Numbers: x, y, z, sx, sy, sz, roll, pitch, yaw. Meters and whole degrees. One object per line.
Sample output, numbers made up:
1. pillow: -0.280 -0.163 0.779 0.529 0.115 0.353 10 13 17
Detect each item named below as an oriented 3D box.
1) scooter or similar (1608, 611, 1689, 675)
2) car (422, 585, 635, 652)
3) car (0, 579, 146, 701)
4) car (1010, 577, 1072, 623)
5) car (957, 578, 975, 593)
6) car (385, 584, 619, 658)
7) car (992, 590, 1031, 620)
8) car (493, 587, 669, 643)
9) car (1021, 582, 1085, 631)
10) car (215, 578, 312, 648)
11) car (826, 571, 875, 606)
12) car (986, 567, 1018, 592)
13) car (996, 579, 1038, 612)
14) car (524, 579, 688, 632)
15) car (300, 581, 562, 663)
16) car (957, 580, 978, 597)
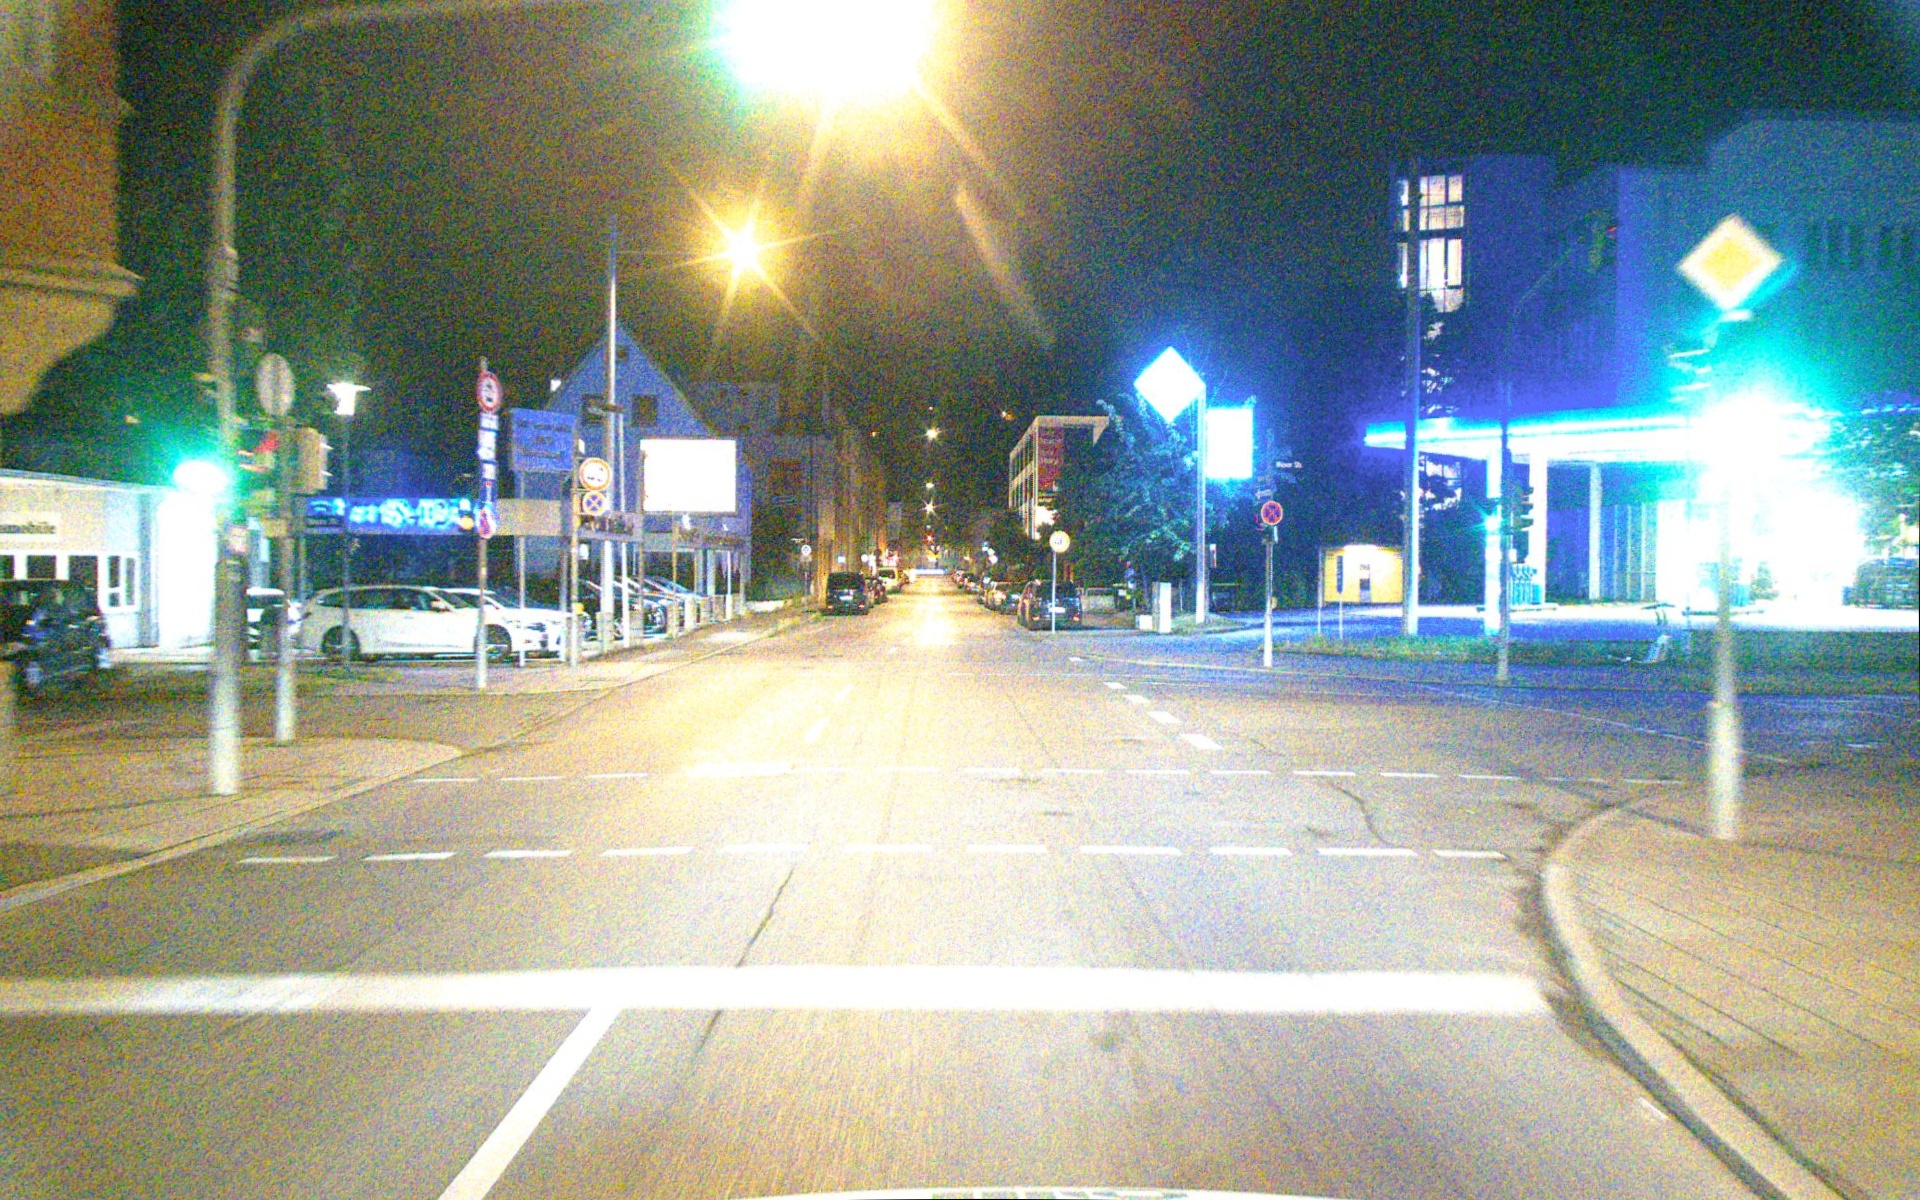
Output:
1. scooter or similar: 12.979 0.792 31.169 1.664 1.111 0.707 -1 1 -39
2. car: -9.777 0.412 37.747 4.349 1.475 1.999 0 0 -2
3. car: -14.067 0.538 24.845 1.955 1.650 3.996 1 1 -5
4. car: 2.973 -0.031 61.342 1.953 1.623 3.999 1 1 -2
5. car: 0.640 -1.551 175.004 1.952 1.546 4.000 0 0 1
6. car: -9.493 0.425 34.576 4.350 1.475 1.999 0 0 -2
7. car: 2.698 0.273 86.846 1.952 1.546 4.000 0 0 1
8. car: -10.332 0.414 45.309 4.349 1.475 1.999 0 0 -2
9. car: 3.104 0.183 55.810 1.952 1.542 4.001 1 1 1
10. car: -18.891 0.351 44.769 1.972 1.806 3.960 0 0 -30
11. car: -4.873 -0.487 74.218 1.953 1.528 3.999 0 0 -1
12. car: 2.583 -1.259 103.049 1.952 1.546 4.000 0 0 1
13. car: 2.703 -0.201 79.292 1.952 1.546 4.000 0 0 1
14. car: -10.262 0.161 48.153 4.349 1.475 1.999 0 0 -2
15. car: -10.018 0.406 31.578 4.349 1.475 1.999 0 0 -2
16. car: 0.700 -1.037 151.889 1.952 1.546 4.000 0 0 1
